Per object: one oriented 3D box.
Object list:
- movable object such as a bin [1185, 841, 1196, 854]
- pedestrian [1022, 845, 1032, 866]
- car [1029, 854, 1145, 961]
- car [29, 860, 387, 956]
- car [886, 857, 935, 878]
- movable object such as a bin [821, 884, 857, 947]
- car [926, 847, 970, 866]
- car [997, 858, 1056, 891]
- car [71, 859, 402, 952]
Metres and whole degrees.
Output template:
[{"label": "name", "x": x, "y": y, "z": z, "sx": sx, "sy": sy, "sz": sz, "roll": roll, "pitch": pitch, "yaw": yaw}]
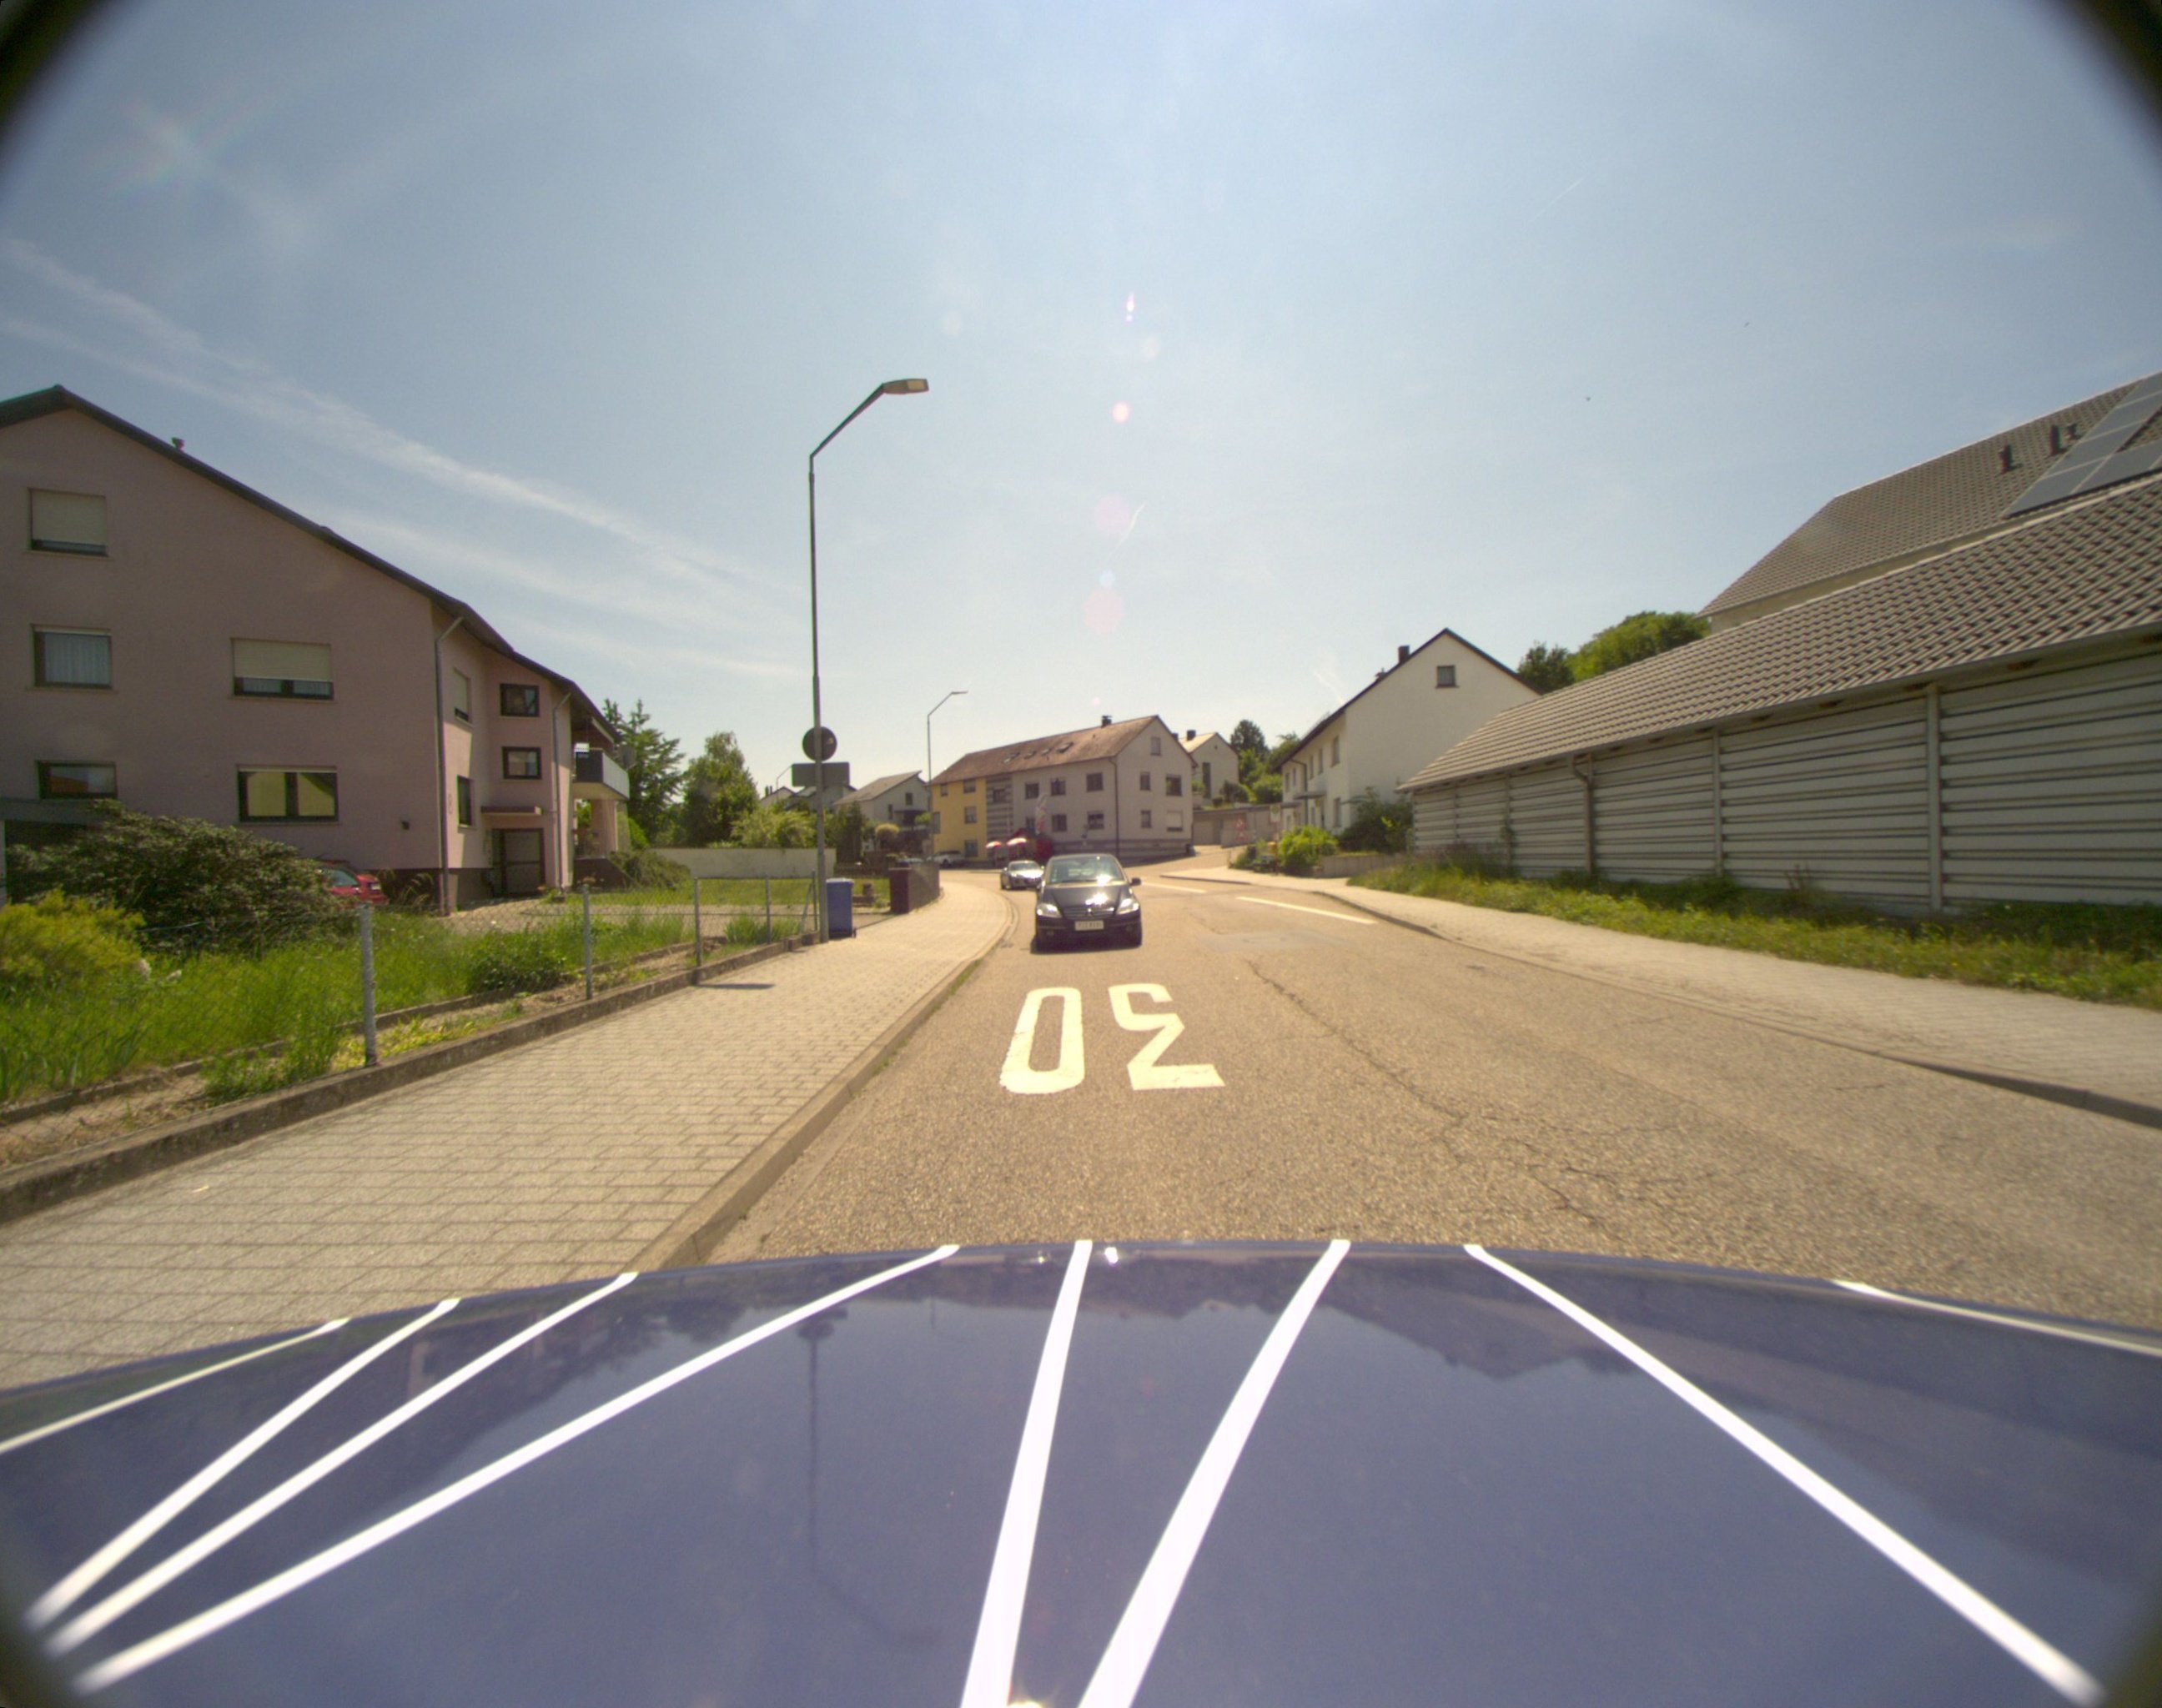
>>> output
[{"label": "movable object such as a bin", "x": 8.200, "y": -0.467, "z": 56.882, "sx": 0.599, "sy": 0.929, "sz": 0.601, "roll": -1, "pitch": 1, "yaw": 44}, {"label": "pedestrian", "x": -4.215, "y": 0.087, "z": 59.122, "sx": 0.613, "sy": 1.578, "sz": 0.808, "roll": -3, "pitch": 1, "yaw": -11}, {"label": "car", "x": 0.007, "y": 0.852, "z": 14.185, "sx": 1.764, "sy": 1.583, "sz": 4.197, "roll": -3, "pitch": 0, "yaw": -2}, {"label": "car", "x": -15.426, "y": 0.884, "z": 13.744, "sx": 3.842, "sy": 1.477, "sz": 1.758, "roll": -1, "pitch": 0, "yaw": -23}, {"label": "car", "x": -11.941, "y": 0.948, "z": 53.101, "sx": 1.901, "sy": 1.368, "sz": 3.990, "roll": -3, "pitch": 1, "yaw": -36}, {"label": "movable object such as a bin", "x": -4.372, "y": 1.095, "z": 13.740, "sx": 0.567, "sy": 1.051, "sz": 0.650, "roll": -2, "pitch": 1, "yaw": -16}, {"label": "car", "x": -11.745, "y": 0.250, "z": 67.039, "sx": 1.739, "sy": 1.543, "sz": 4.176, "roll": -3, "pitch": 2, "yaw": -43}, {"label": "car", "x": -2.509, "y": 0.886, "z": 34.162, "sx": 1.816, "sy": 1.307, "sz": 3.994, "roll": -2, "pitch": 1, "yaw": -16}, {"label": "car", "x": -17.112, "y": 0.953, "z": 15.737, "sx": 4.131, "sy": 1.539, "sz": 1.847, "roll": -3, "pitch": 1, "yaw": -27}]
